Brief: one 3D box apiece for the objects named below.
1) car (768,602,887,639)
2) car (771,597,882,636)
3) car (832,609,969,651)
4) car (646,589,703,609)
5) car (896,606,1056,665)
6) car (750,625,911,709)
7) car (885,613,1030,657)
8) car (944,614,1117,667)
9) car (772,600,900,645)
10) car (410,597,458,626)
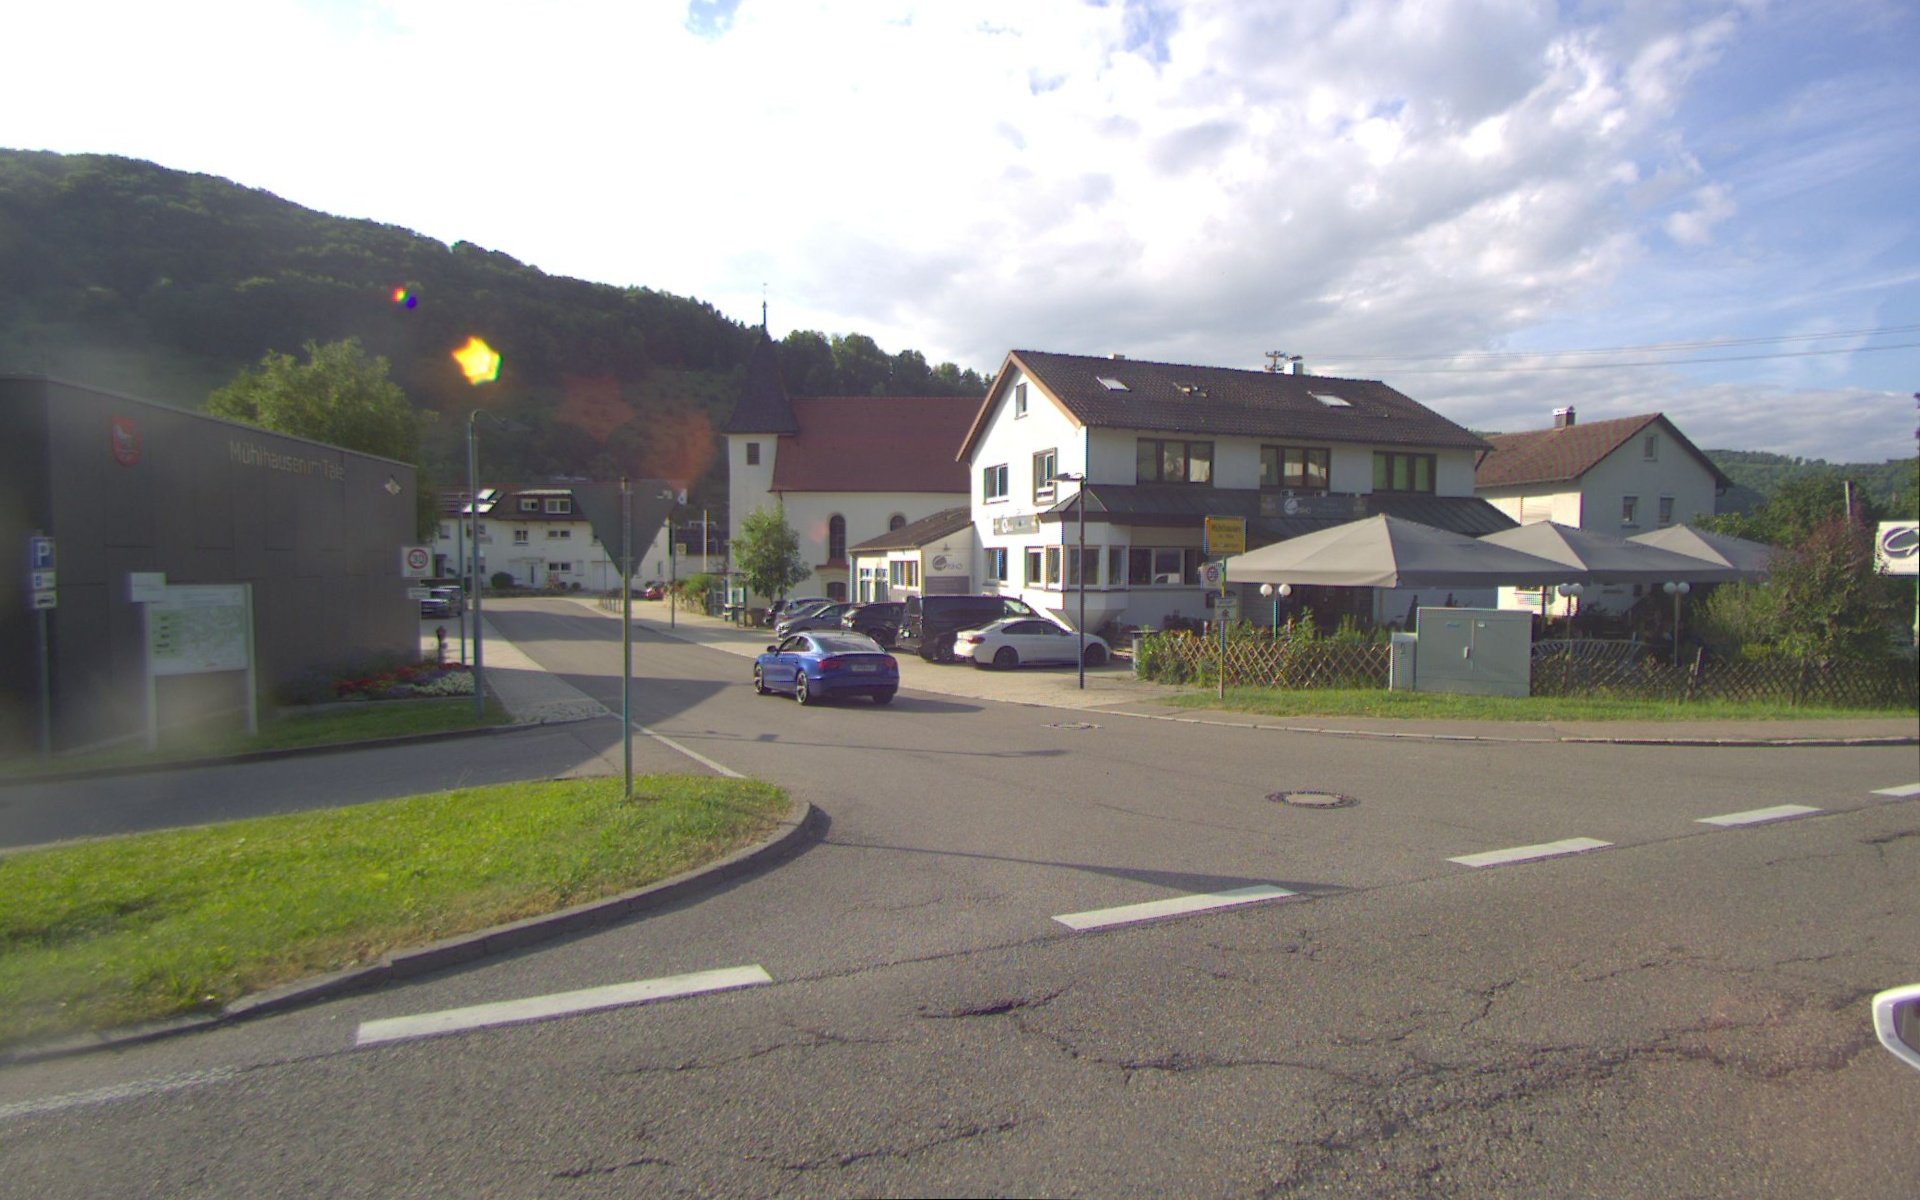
[{"bbox_3d":[-5.481,0.847,41.521,4.512,1.431,1.989,1,-1,-24],"label":"car"},{"bbox_3d":[-5.872,0.728,44.148,4.512,1.665,1.989,1,-1,-24],"label":"car"},{"bbox_3d":[-2.144,1.052,35.999,4.512,1.431,1.989,1,-1,-24],"label":"car"},{"bbox_3d":[-22.098,-0.075,77.724,3.951,1.528,1.985,0,0,-29],"label":"car"},{"bbox_3d":[0.479,1.052,30.782,4.512,1.708,1.989,1,-1,-24],"label":"car"},{"bbox_3d":[-2.692,1.240,20.002,1.813,1.428,4.195,1,-1,-28],"label":"car"},{"bbox_3d":[-0.081,1.163,33.972,4.512,1.408,1.989,1,-1,-24],"label":"car"},{"bbox_3d":[2.006,1.107,28.544,4.512,1.408,1.989,1,-1,-24],"label":"car"},{"bbox_3d":[-4.729,0.854,38.305,4.512,1.618,1.989,1,-1,-24],"label":"car"},{"bbox_3d":[-28.599,0.585,54.541,1.979,1.534,3.963,0,0,-33],"label":"car"}]
